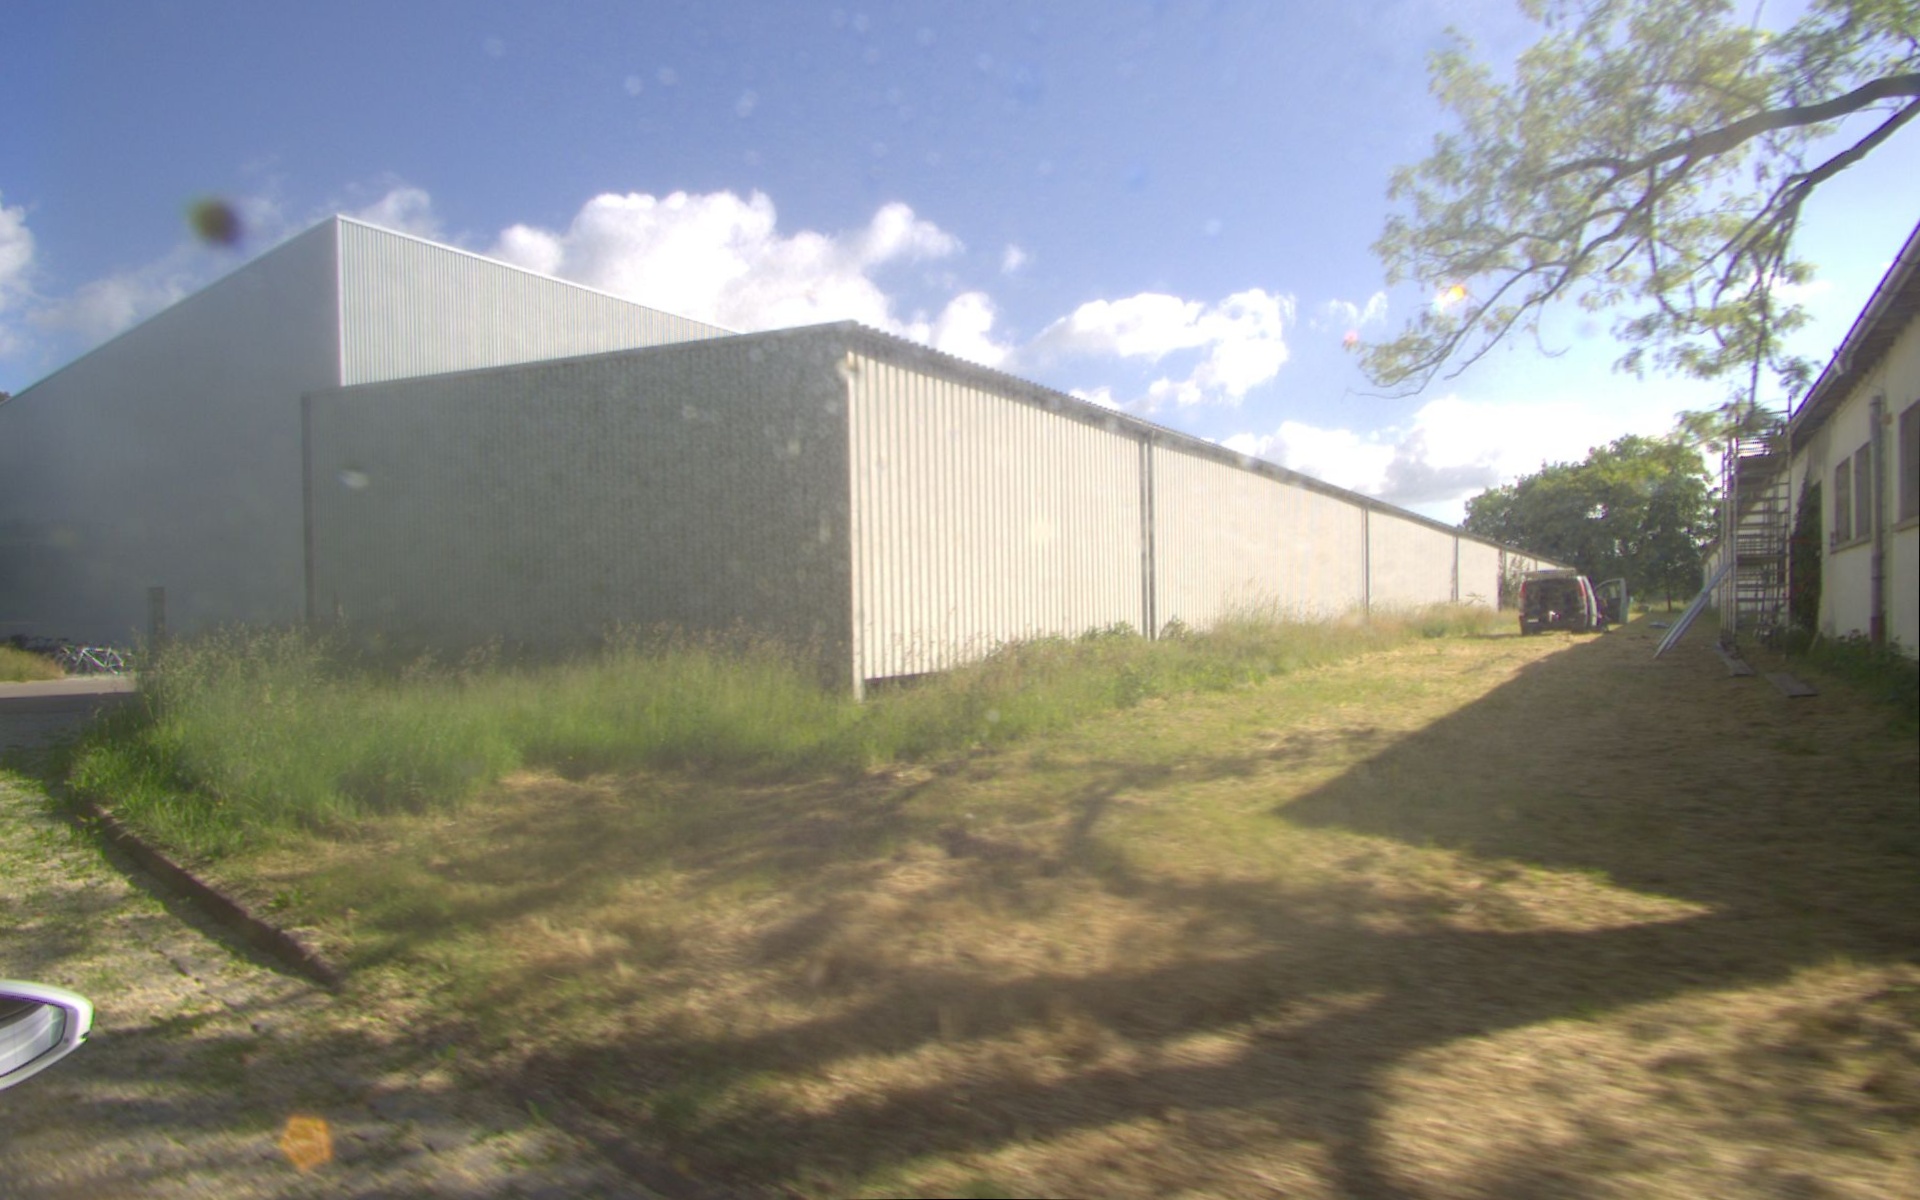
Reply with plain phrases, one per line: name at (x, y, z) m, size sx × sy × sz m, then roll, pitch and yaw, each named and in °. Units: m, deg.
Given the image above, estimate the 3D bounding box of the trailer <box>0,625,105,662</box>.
trailer at (-32.848, 1.538, 36.224) m, size 1.229 × 1.215 × 2.703 m, roll -1°, pitch 0°, yaw 35°

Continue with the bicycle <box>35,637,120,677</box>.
bicycle at (-26.756, 1.709, 30.388) m, size 0.427 × 1.096 × 1.878 m, roll -1°, pitch 0°, yaw 34°

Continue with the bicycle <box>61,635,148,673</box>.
bicycle at (-24.797, 1.550, 29.061) m, size 0.427 × 0.991 × 1.878 m, roll -1°, pitch 0°, yaw 34°

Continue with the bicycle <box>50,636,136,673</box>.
bicycle at (-25.747, 1.610, 29.771) m, size 0.427 × 0.991 × 1.878 m, roll -1°, pitch 0°, yaw 34°

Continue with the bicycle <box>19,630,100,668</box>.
bicycle at (-28.794, 1.552, 32.041) m, size 0.427 × 1.141 × 1.878 m, roll -1°, pitch 0°, yaw 34°

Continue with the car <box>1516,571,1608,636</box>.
car at (19.142, 0.112, 31.749) m, size 2.052 × 1.853 × 4.245 m, roll -4°, pitch -2°, yaw 36°
